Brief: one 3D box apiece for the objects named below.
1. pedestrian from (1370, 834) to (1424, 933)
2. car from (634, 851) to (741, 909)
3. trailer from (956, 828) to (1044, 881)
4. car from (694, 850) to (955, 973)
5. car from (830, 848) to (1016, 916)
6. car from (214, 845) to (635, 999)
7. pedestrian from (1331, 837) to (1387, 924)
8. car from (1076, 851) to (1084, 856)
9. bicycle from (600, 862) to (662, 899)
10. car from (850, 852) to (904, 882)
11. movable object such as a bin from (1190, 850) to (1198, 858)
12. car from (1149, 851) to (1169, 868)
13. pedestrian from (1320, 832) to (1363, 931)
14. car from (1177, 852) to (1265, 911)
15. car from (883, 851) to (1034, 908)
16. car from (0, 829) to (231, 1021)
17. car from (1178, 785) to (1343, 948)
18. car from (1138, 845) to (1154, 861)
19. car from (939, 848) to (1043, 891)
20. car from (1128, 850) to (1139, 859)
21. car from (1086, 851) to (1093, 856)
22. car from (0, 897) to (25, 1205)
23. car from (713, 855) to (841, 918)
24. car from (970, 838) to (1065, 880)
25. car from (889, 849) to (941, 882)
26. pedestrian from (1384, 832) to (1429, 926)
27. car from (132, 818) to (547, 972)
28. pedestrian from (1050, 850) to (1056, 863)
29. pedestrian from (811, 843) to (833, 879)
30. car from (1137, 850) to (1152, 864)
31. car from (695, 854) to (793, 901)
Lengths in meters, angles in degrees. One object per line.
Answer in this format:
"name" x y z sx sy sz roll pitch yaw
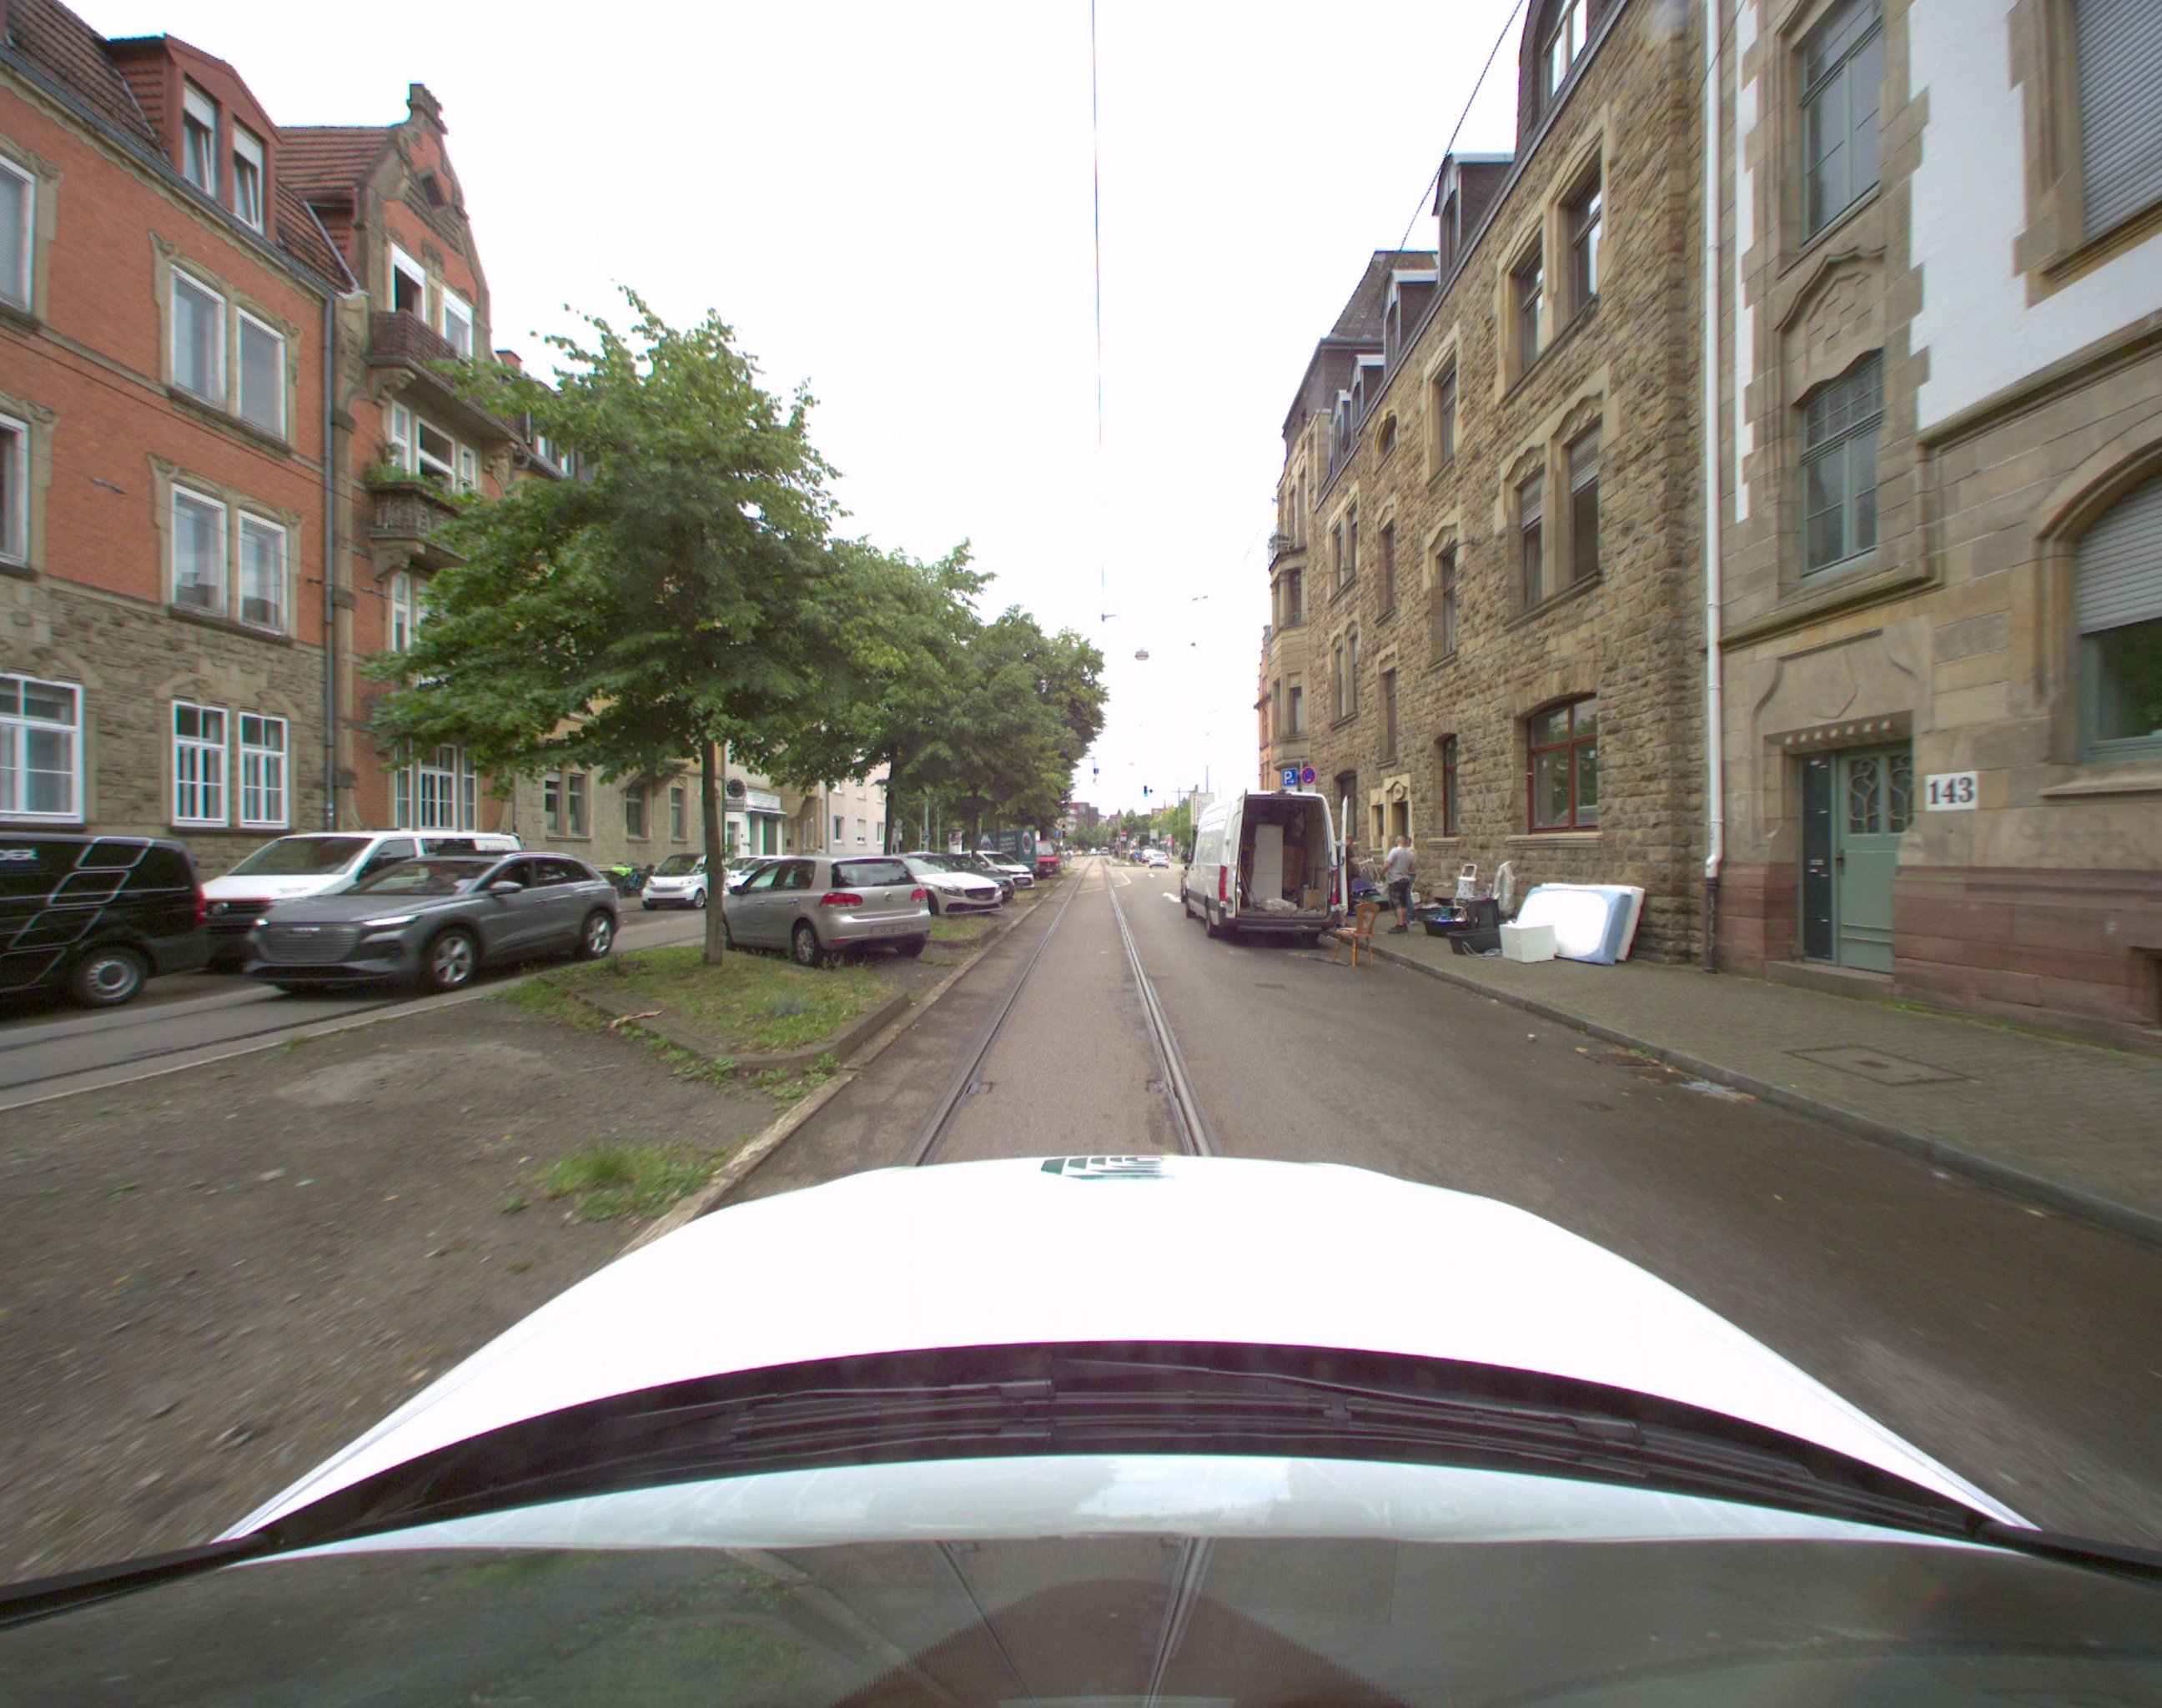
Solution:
"pedestrian" 5.663 0.512 14.599 0.706 1.700 0.488 -3 0 -27
"car" -11.116 0.687 23.211 1.629 1.550 2.950 0 0 0
"trailer" -3.776 0.021 37.705 3.624 2.344 1.943 0 0 34
"car" -3.853 0.690 11.875 4.065 1.484 1.808 0 0 42
"car" -3.869 0.594 19.522 4.628 1.435 1.911 0 0 40
"car" -8.016 0.707 10.678 1.799 1.579 4.547 0 0 0
"pedestrian" 5.642 0.522 16.548 0.863 1.700 0.535 -2 0 -13
"car" -0.397 -0.240 233.269 1.760 1.493 3.895 0 0 7
"bicycle" -14.021 0.803 25.439 0.708 1.072 2.259 0 0 -1
"car" -10.488 0.626 42.199 1.629 1.443 4.569 0 0 0
"movable object such as a bin" 20.080 -0.037 144.811 1.277 1.390 1.159 0 0 2
"car" 7.119 0.504 74.509 1.775 1.472 4.014 0 0 4
"pedestrian" 4.902 0.503 15.350 0.497 1.815 0.803 -2 0 2
"car" 3.803 0.674 22.952 1.817 1.450 5.010 1 0 2
"car" -3.480 0.642 22.664 4.286 1.435 1.910 0 0 43
"car" -10.904 0.657 6.985 1.807 1.781 5.117 0 0 0
"car" 3.289 0.182 16.554 2.005 2.548 7.020 1 0 2
"car" 8.260 -0.148 103.362 1.776 1.962 4.383 0 0 1
"car" -3.343 0.534 29.713 3.815 1.463 1.700 0 0 43
"car" 9.571 0.050 148.694 1.776 1.679 4.384 0 0 1
"car" 2.793 -0.128 260.080 1.760 1.493 3.895 0 0 7
"car" -3.812 0.798 1.586 3.914 1.202 1.678 0 0 45
"car" -7.918 0.778 21.693 1.638 1.504 4.622 0 0 0
"car" -3.211 0.243 40.632 4.707 1.974 1.972 0 0 39
"car" -7.845 0.538 38.839 1.638 1.504 3.883 0 0 0
"pedestrian" 6.161 0.462 15.410 0.507 1.717 0.579 -2 0 -9
"car" -11.118 0.530 12.931 1.875 1.952 5.094 0 0 0
"pedestrian" -3.608 0.293 106.345 0.699 1.715 0.697 -1 0 -7
"pedestrian" -12.832 0.349 40.367 0.795 1.766 0.900 -1 0 0
"car" 8.678 0.401 111.422 1.776 1.962 4.384 0 0 1
"car" -11.107 0.733 27.146 1.629 1.443 3.923 0 0 0
